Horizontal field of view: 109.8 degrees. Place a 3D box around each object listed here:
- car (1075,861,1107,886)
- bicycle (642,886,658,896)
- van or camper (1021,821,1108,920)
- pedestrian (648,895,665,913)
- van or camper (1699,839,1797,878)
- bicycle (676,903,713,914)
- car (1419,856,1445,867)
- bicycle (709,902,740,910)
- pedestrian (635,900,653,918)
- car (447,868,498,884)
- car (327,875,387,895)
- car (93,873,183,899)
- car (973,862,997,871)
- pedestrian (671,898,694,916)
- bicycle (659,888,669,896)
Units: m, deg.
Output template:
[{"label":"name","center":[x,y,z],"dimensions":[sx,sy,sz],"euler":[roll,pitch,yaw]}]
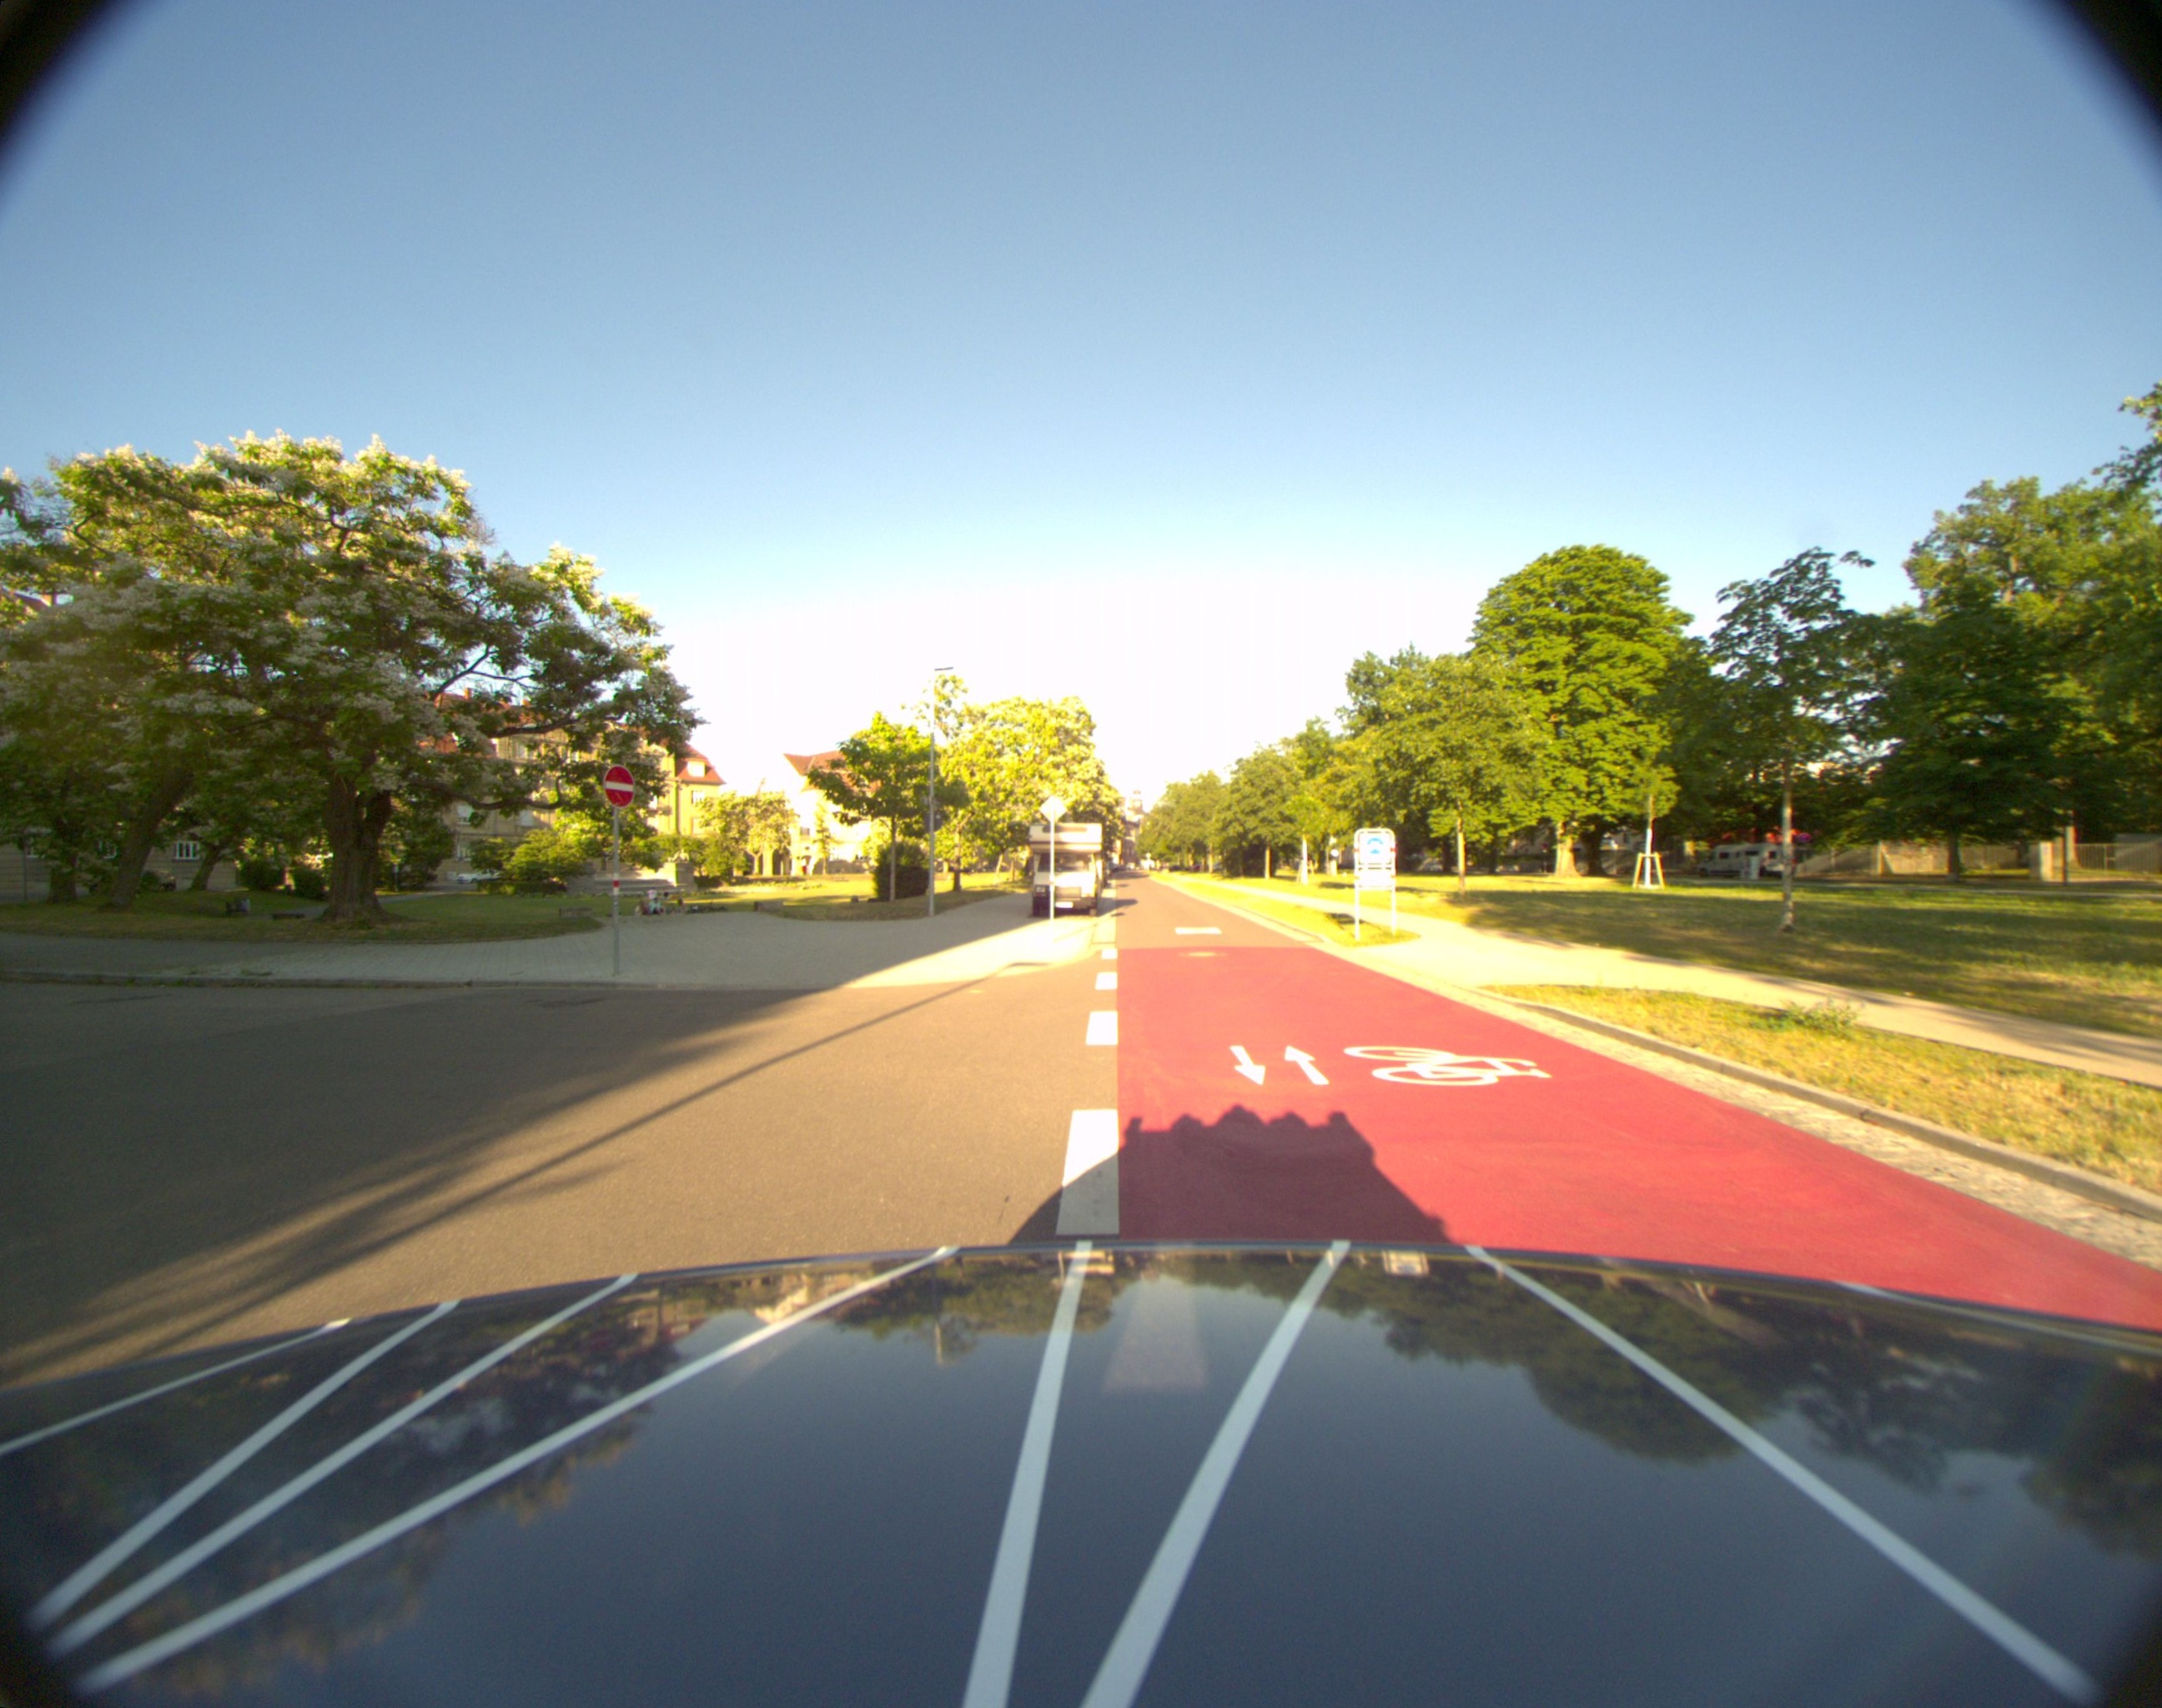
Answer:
[{"label":"car","center":[0.688,1.265,49.690],"dimensions":[1.998,1.501,4.001],"euler":[-1,0,2]},{"label":"bicycle","center":[-29.571,2.508,52.158],"dimensions":[0.907,0.648,0.438],"euler":[-1,0,-36]},{"label":"van or camper","center":[-0.384,0.465,24.680],"dimensions":[2.427,2.766,5.953],"euler":[1,0,2]},{"label":"pedestrian","center":[-19.602,2.298,35.067],"dimensions":[0.453,0.830,0.499],"euler":[-1,0,36]},{"label":"van or camper","center":[46.547,0.319,53.239],"dimensions":[1.998,2.425,5.468],"euler":[-4,-1,1]},{"label":"bicycle","center":[-18.431,2.586,36.308],"dimensions":[0.659,0.380,1.933],"euler":[0,0,5]},{"label":"car","center":[49.225,1.035,106.604],"dimensions":[1.796,1.455,4.001],"euler":[-1,-1,2]},{"label":"bicycle","center":[-18.123,2.653,38.686],"dimensions":[0.659,0.317,1.704],"euler":[0,0,5]},{"label":"pedestrian","center":[-18.863,2.356,32.809],"dimensions":[0.498,0.742,0.455],"euler":[-1,0,-2]},{"label":"car","center":[-60.560,2.199,75.701],"dimensions":[1.724,1.489,3.708],"euler":[-1,-2,9]},{"label":"car","center":[-62.236,2.634,65.400],"dimensions":[1.776,1.574,3.997],"euler":[-1,0,-9]},{"label":"car","center":[-56.634,1.902,45.723],"dimensions":[1.728,1.489,3.699],"euler":[0,-2,-20]},{"label":"car","center":[-15.769,2.067,125.134],"dimensions":[3.706,1.490,1.724],"euler":[-1,0,-15]},{"label":"pedestrian","center":[-17.763,2.369,33.877],"dimensions":[0.497,0.760,0.812],"euler":[-1,-2,42]},{"label":"bicycle","center":[-28.901,2.636,52.663],"dimensions":[0.488,0.579,0.438],"euler":[-1,0,-36]}]
